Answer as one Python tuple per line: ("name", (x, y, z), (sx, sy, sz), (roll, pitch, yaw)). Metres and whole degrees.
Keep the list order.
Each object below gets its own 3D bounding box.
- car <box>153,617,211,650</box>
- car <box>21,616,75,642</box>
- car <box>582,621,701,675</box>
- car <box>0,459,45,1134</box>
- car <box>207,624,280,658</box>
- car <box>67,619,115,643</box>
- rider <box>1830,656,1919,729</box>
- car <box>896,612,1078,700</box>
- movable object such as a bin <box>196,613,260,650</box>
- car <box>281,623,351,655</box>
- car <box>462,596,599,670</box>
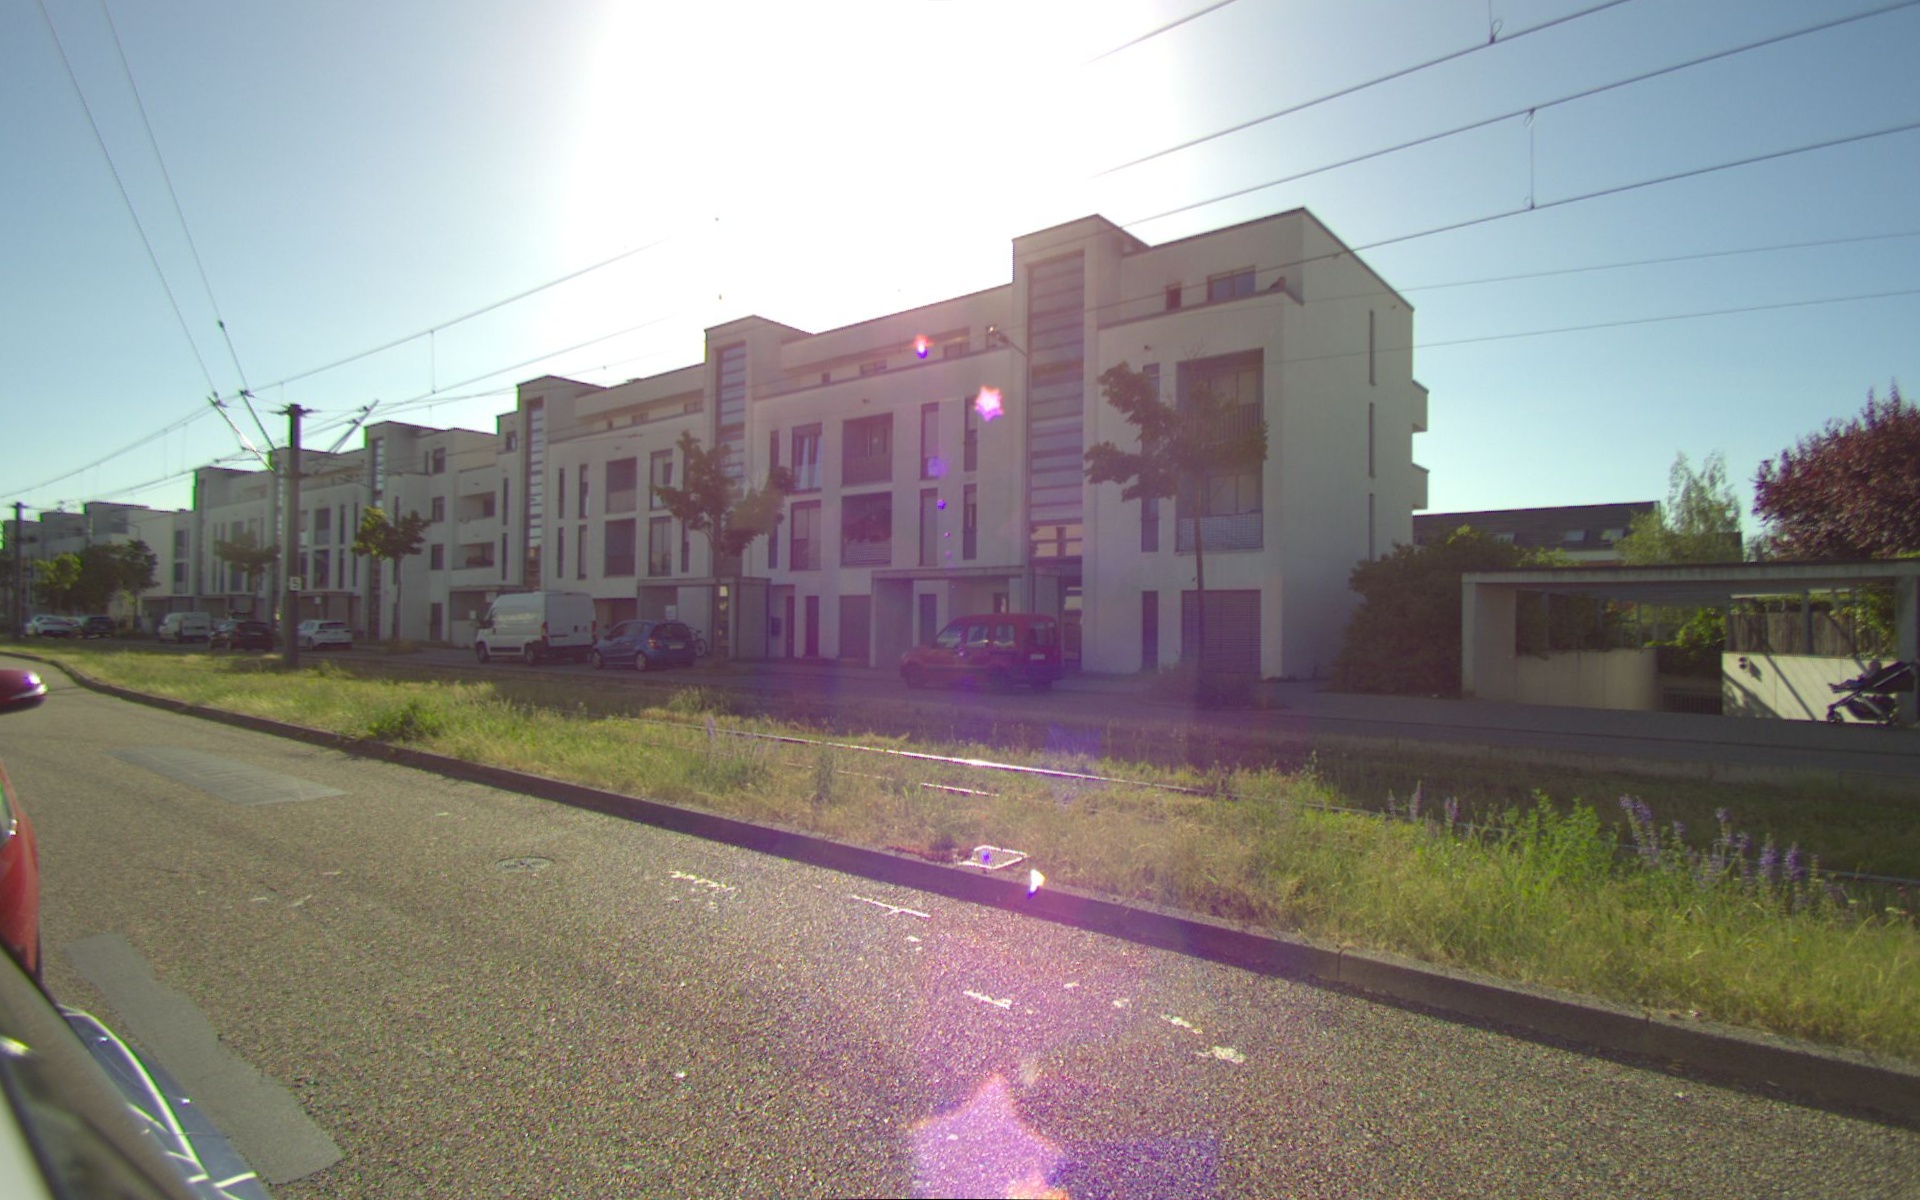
("car", (-47.310, 2.017, 61.520), (4.149, 1.884, 1.745), (-1, -1, 37))
("car", (-62.461, 1.997, 69.267), (4.641, 1.608, 1.974), (-1, -4, 39))
("car", (-9.985, 1.454, 31.594), (3.840, 1.548, 1.805), (-1, -1, 41))
("car", (-5.295, 0.617, 3.994), (5.203, 1.948, 1.954), (-1, 0, 42))
("car", (-32.438, 1.850, 45.789), (3.999, 1.429, 1.769), (-1, -4, 42))
("car", (-63.036, 2.232, 73.393), (4.149, 1.611, 1.745), (-1, -1, 37))
("rider", (13.852, 1.372, 15.256), (0.769, 1.010, 1.046), (0, -1, -44))
("car", (0.557, 1.202, 22.989), (3.836, 1.809, 1.861), (-1, -1, 42))
("movable object such as a bin", (-40.831, 1.733, 56.407), (4.149, 1.952, 1.745), (-1, -1, 37))
("car", (-31.180, 1.867, 48.950), (4.149, 1.443, 1.503), (-1, -1, 37))
("car", (-15.378, 1.137, 36.079), (5.583, 2.463, 2.119), (-1, -1, 39))
